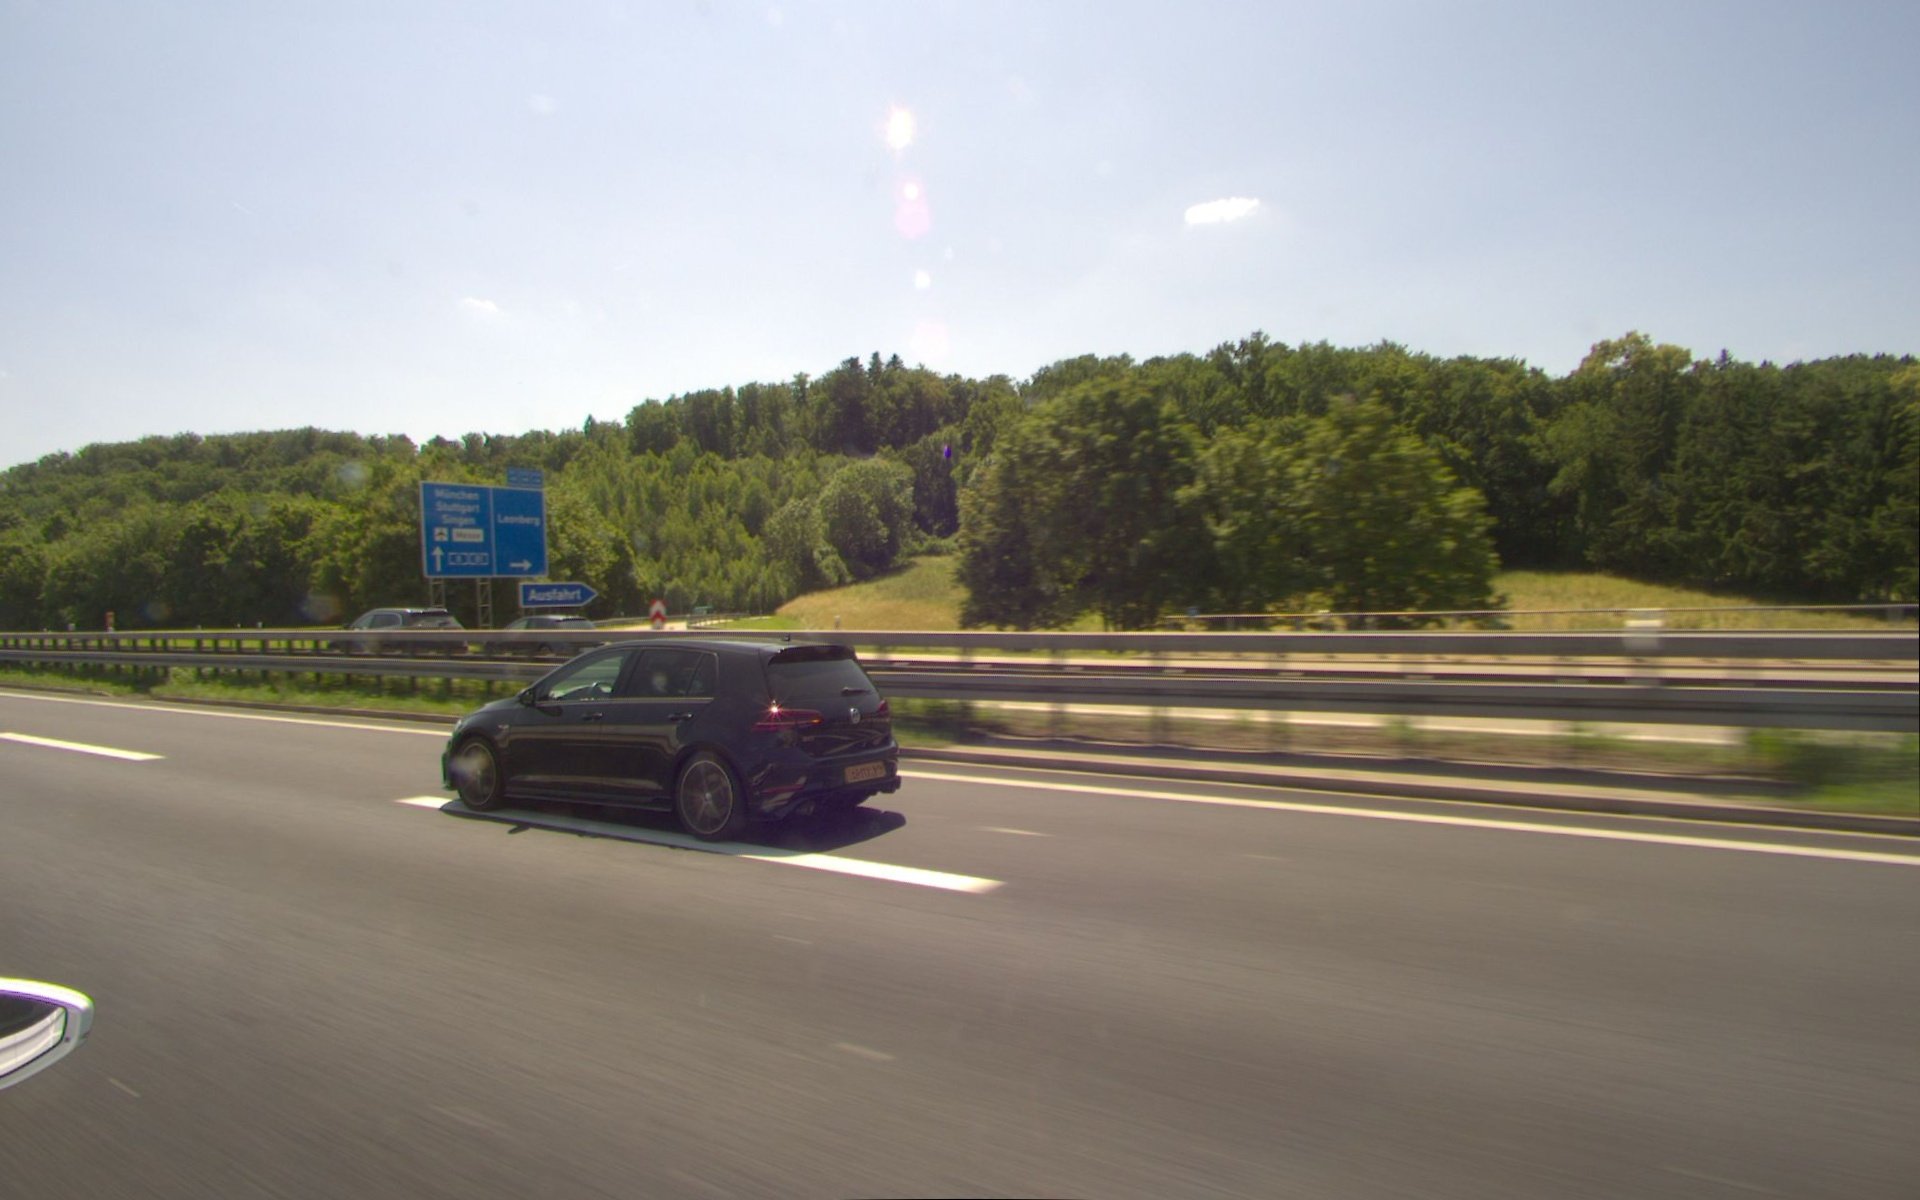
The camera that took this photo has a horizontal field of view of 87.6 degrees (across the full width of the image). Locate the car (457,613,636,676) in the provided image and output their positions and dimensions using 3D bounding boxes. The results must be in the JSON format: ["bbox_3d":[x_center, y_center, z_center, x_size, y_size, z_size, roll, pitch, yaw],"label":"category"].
[{"bbox_3d":[-11.866,1.253,28.642,5.149,1.683,1.992,-1,-1,29],"label":"car"}]

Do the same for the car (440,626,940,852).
[{"bbox_3d":[-2.288,0.966,8.287,3.908,1.454,1.792,-1,-1,31],"label":"car"}]

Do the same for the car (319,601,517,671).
[{"bbox_3d":[-14.288,0.936,26.314,5.542,1.683,1.991,-1,-1,30],"label":"car"}]

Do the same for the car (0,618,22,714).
[{"bbox_3d":[-19.220,1.205,18.196,4.401,1.683,1.991,-1,-1,30],"label":"car"}]
